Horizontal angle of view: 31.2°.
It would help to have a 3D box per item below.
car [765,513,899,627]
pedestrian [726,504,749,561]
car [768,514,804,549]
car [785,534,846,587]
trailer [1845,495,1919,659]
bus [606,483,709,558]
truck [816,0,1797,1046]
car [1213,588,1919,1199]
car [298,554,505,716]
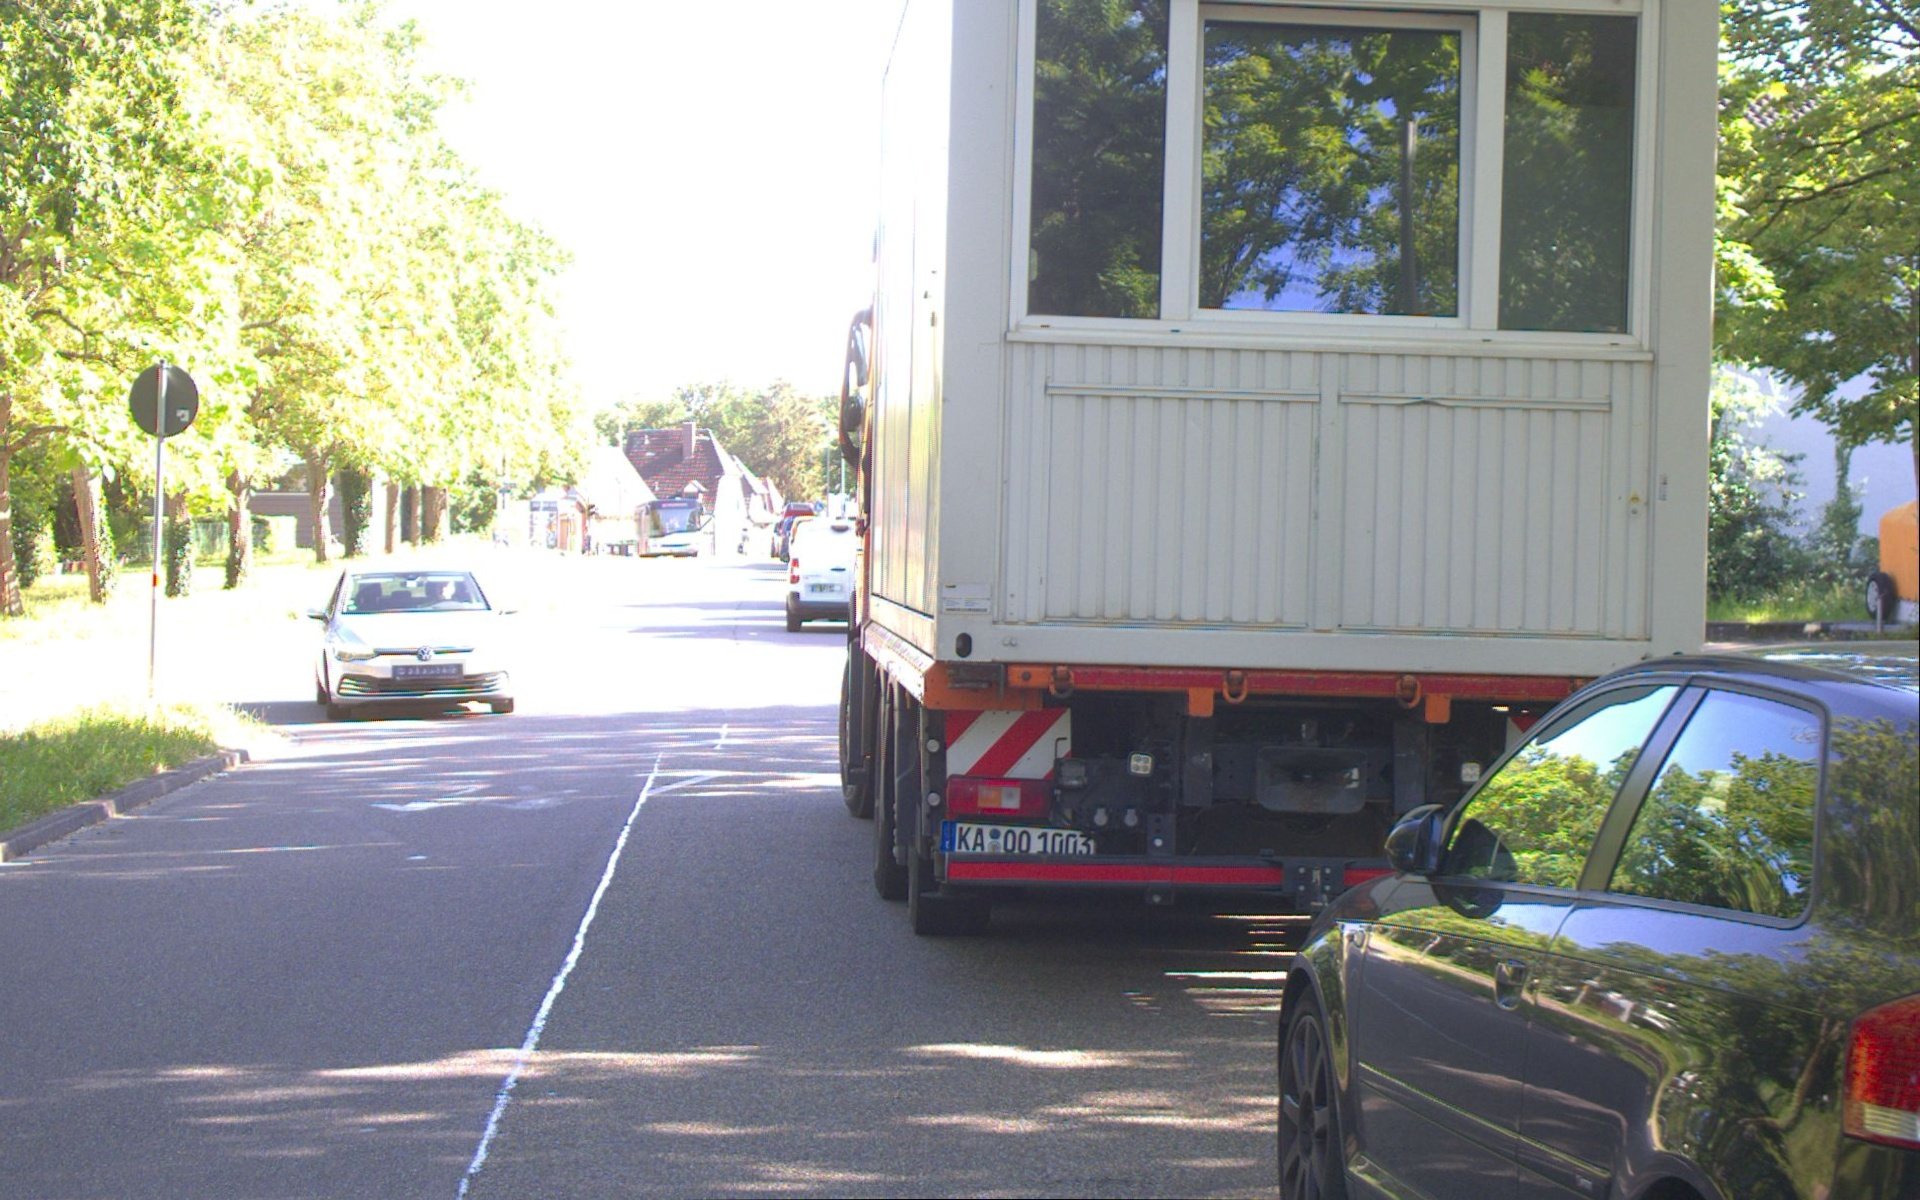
[{"bbox_3d":[-2.191,-0.521,57.865,1.946,1.836,4.001,0,1,-7],"label":"car"},{"bbox_3d":[-8.388,-2.533,129.624,0.752,2.106,0.799,2,1,-1],"label":"pedestrian"},{"bbox_3d":[-9.128,-3.566,179.950,1.781,1.802,4.001,-1,1,-4],"label":"car"},{"bbox_3d":[-4.619,-1.278,109.473,1.781,1.647,4.001,-1,1,-4],"label":"car"},{"bbox_3d":[13.282,-0.309,44.915,2.942,2.109,1.611,0,1,-5],"label":"trailer"},{"bbox_3d":[-14.056,-3.717,160.589,4.065,3.337,9.801,-1,1,-1],"label":"bus"},{"bbox_3d":[0.910,-0.697,16.154,2.772,3.982,10.350,2,1,-4],"label":"truck"},{"bbox_3d":[1.630,0.740,5.991,1.639,1.415,4.001,1,1,-6],"label":"car"},{"bbox_3d":[-5.490,0.292,33.490,1.805,1.415,3.960,-2,1,-11],"label":"car"}]
